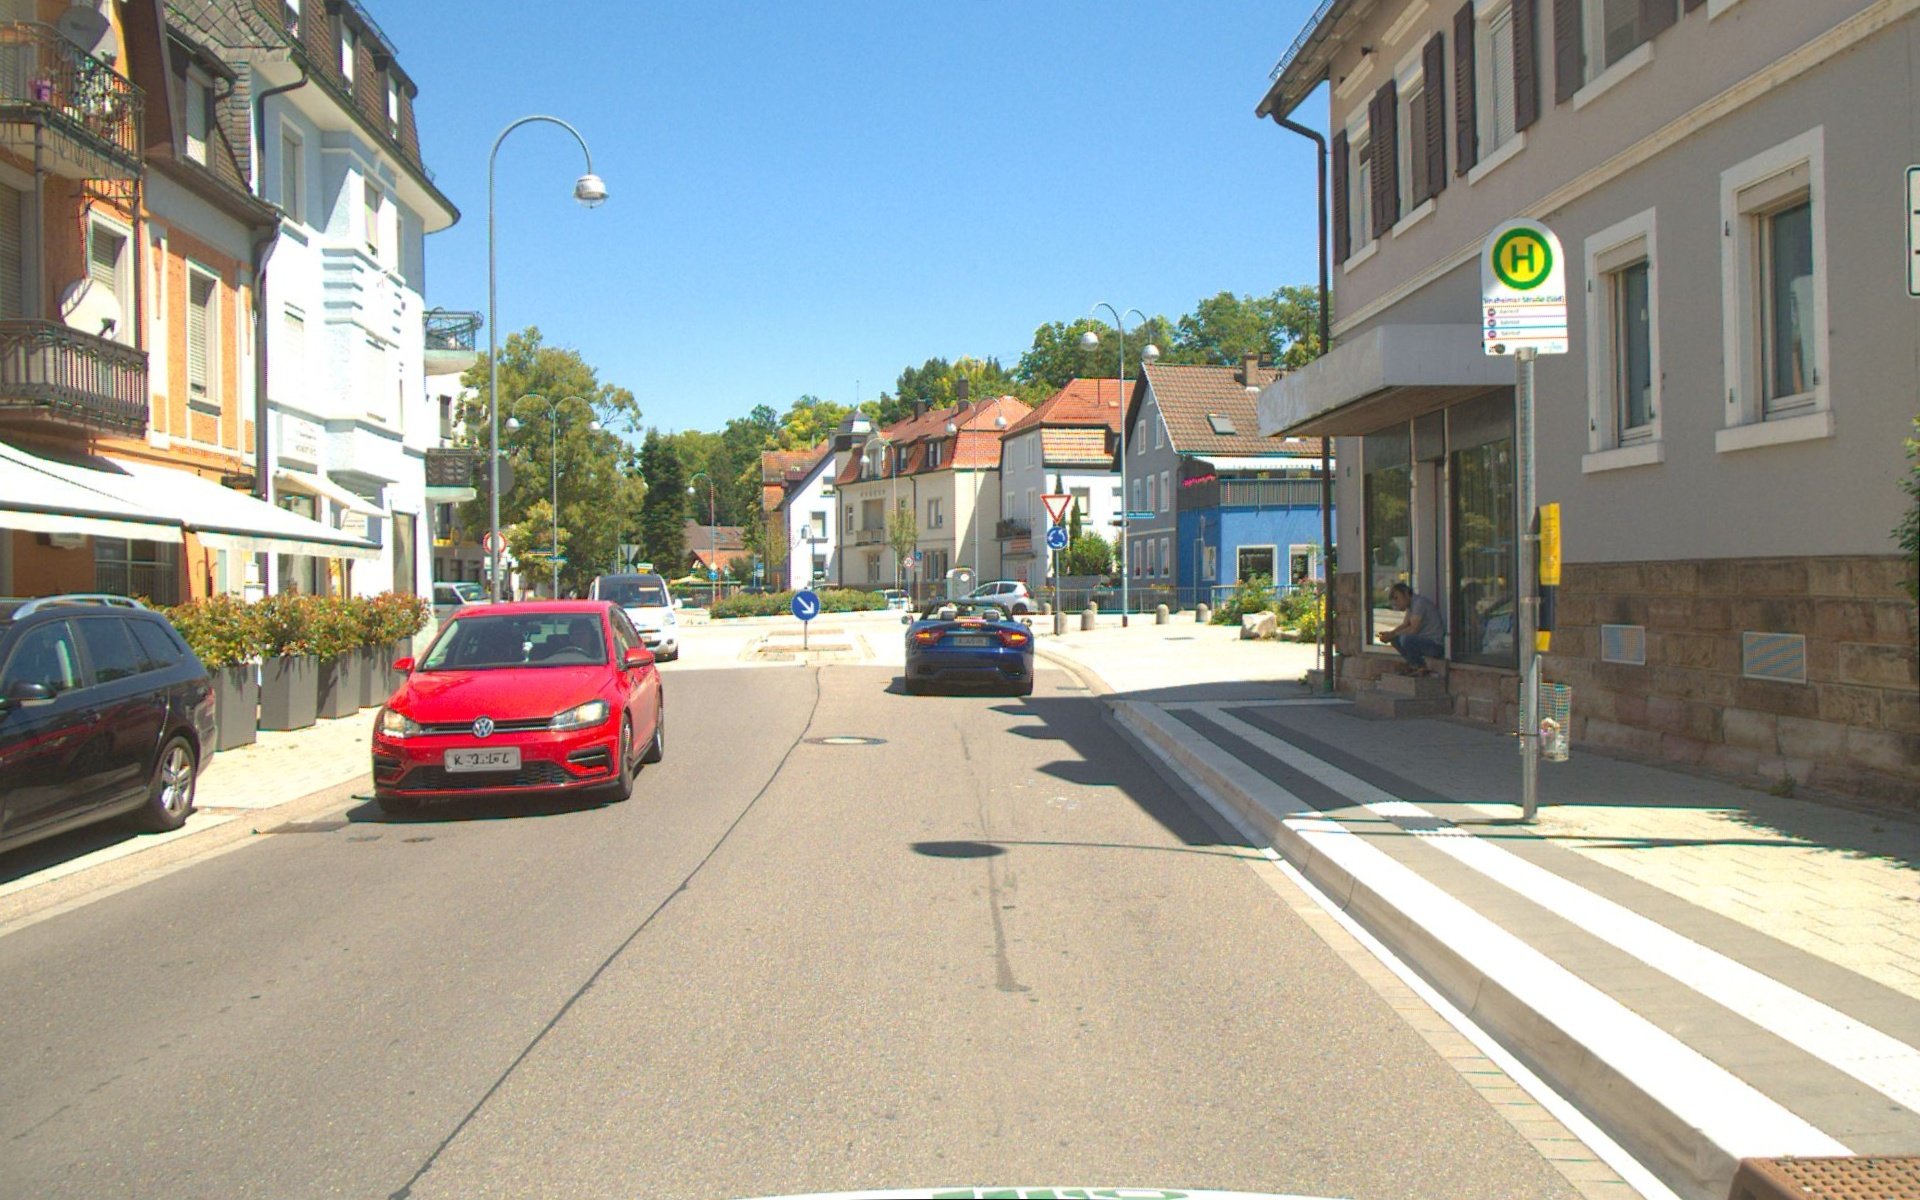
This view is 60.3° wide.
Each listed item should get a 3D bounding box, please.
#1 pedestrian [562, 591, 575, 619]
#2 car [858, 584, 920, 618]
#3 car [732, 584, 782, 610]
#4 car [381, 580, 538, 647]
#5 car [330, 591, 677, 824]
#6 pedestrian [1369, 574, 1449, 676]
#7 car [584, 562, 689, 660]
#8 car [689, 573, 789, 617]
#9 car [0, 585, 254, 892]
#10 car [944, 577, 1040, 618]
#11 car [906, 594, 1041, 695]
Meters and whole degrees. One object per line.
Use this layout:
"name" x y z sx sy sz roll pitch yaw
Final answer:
"pedestrian" -22.359 0.293 94.466 0.523 1.603 0.563 -1 0 9
"car" -3.635 0.072 84.153 1.891 1.641 4.121 -1 -1 -21
"car" -13.627 -0.176 110.938 1.832 1.616 3.956 -2 1 -32
"car" -14.897 0.371 49.262 4.127 1.907 1.765 0 1 13
"car" -3.381 0.702 13.037 1.878 1.451 3.976 -3 1 -5
"pedestrian" 4.666 0.248 17.233 0.578 1.017 0.723 -2 0 -3
"car" -6.753 0.194 34.655 1.958 1.853 4.404 -2 1 -11
"car" -7.421 -0.165 55.219 1.971 1.353 4.161 -2 1 -28
"car" -5.834 0.694 9.407 1.877 1.507 4.335 2 0 -2
"car" 1.254 -0.106 64.219 3.385 1.476 1.581 -2 0 14
"car" 0.176 0.609 25.047 1.871 1.384 4.285 0 0 0
